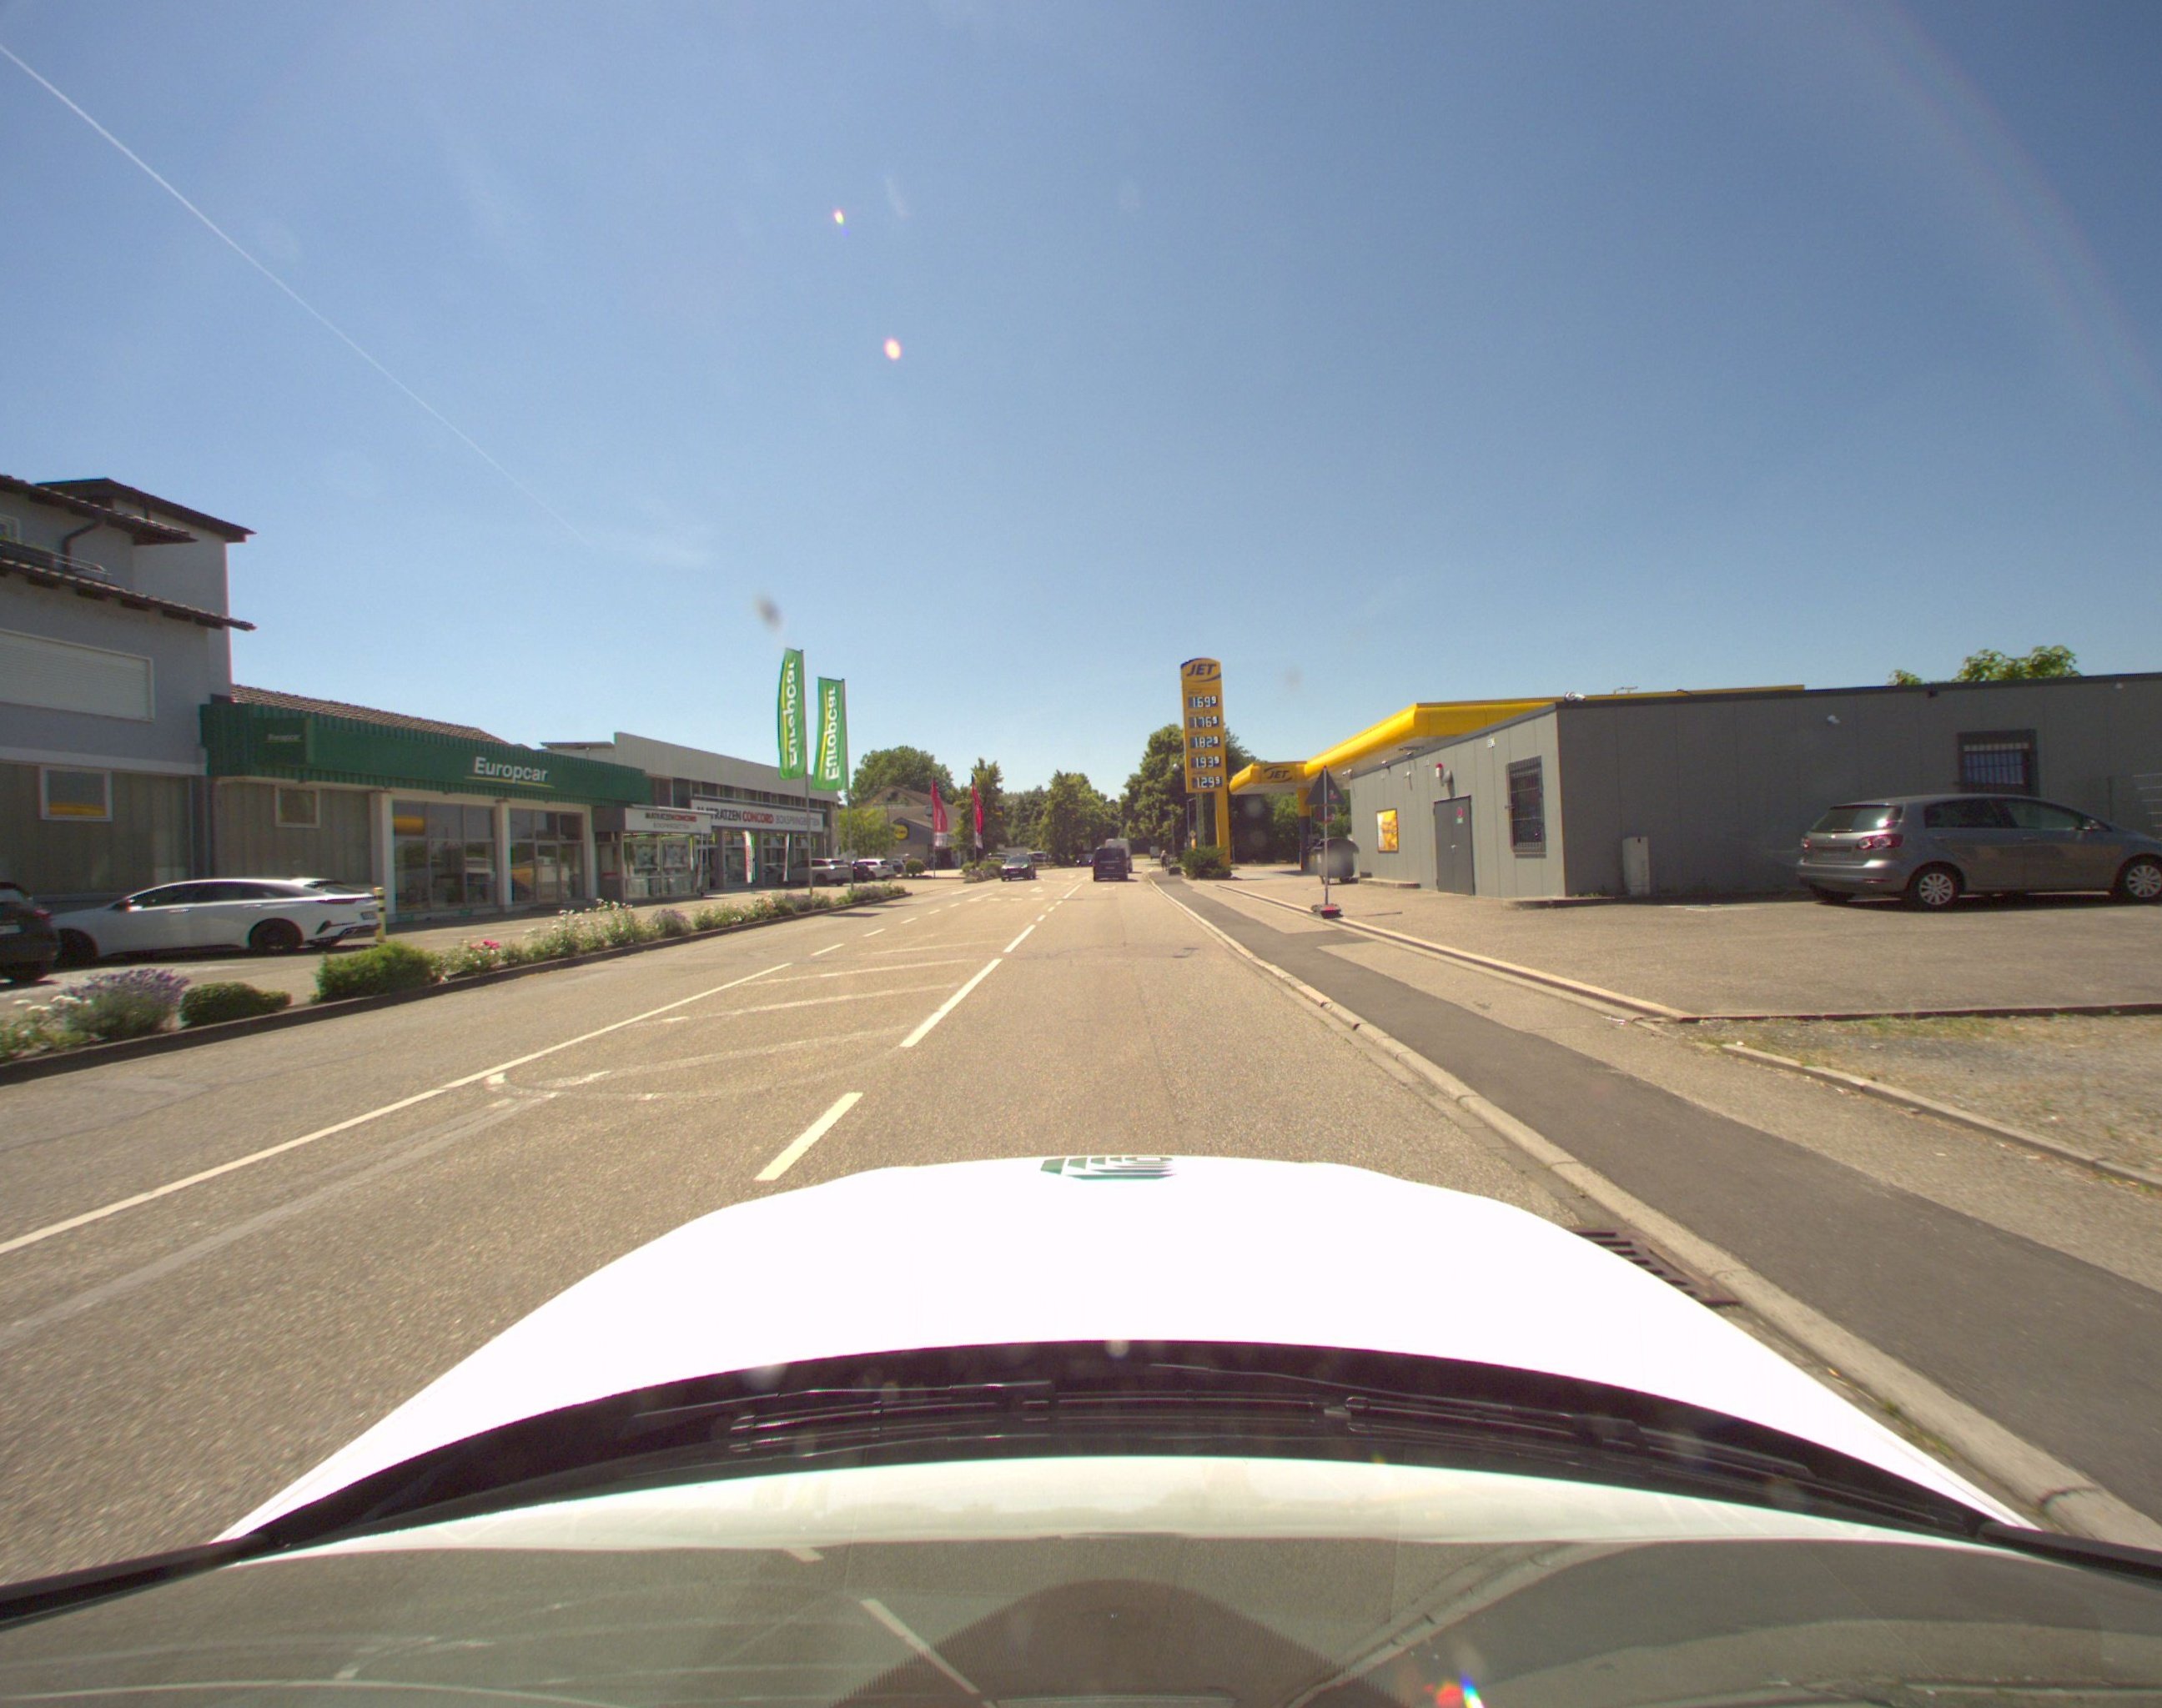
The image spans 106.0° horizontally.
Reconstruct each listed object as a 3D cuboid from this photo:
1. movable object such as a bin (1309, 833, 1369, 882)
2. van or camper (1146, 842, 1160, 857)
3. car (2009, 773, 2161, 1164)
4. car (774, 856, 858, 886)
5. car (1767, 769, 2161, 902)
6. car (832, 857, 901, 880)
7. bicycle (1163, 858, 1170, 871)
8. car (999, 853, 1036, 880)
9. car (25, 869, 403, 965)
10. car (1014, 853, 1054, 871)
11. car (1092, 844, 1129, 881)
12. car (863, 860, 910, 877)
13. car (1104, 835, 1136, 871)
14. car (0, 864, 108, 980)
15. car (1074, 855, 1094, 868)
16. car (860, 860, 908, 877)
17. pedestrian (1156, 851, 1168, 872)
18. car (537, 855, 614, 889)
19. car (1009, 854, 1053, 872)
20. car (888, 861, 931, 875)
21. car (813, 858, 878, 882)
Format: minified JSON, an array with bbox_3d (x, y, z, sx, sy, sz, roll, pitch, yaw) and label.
[{"bbox_3d":[8.215,0.106,25.990,1.428,1.438,1.468,-4,0,2],"label":"movable object such as a bin"},{"bbox_3d":[14.775,-0.830,167.870,2.621,2.929,5.209,-1,-1,2],"label":"van or camper"},{"bbox_3d":[6.309,0.345,2.694,4.210,1.534,1.958,-3,0,0],"label":"car"},{"bbox_3d":[-16.012,1.045,49.289,4.492,1.664,2.010,-2,0,20],"label":"car"},{"bbox_3d":[12.840,-0.246,11.849,3.969,1.657,1.949,-2,0,4],"label":"car"},{"bbox_3d":[-15.023,1.024,57.052,4.150,1.446,1.989,-2,0,18],"label":"car"},{"bbox_3d":[6.048,0.749,57.482,0.375,0.912,1.602,-2,0,9],"label":"bicycle"},{"bbox_3d":[-3.924,0.745,51.128,1.755,1.527,4.140,-3,0,2],"label":"car"},{"bbox_3d":[-15.740,1.065,15.152,4.356,1.439,1.926,-2,0,-21],"label":"car"},{"bbox_3d":[-5.355,0.961,93.162,4.338,1.980,1.906,-1,-1,3],"label":"car"},{"bbox_3d":[1.623,0.442,45.556,1.986,1.952,5.006,0,0,1],"label":"car"},{"bbox_3d":[-20.329,1.494,85.258,4.295,1.655,2.115,-1,-1,2],"label":"car"},{"bbox_3d":[3.021,-0.055,62.278,2.066,2.702,4.677,0,0,8],"label":"car"},{"bbox_3d":[-16.461,0.988,11.293,3.547,1.565,1.970,-2,0,1],"label":"car"},{"bbox_3d":[0.373,0.832,92.796,1.924,1.400,4.692,-1,-1,3],"label":"car"},{"bbox_3d":[-19.294,1.399,79.742,4.225,1.589,1.767,-1,-1,-3],"label":"car"},{"bbox_3d":[5.750,0.517,57.784,0.764,1.421,0.870,-2,-1,8],"label":"pedestrian"},{"bbox_3d":[-41.417,1.463,66.882,2.270,2.627,5.907,-1,-1,5],"label":"car"},{"bbox_3d":[-5.520,0.993,90.446,4.356,1.845,2.110,-1,-1,11],"label":"car"},{"bbox_3d":[-18.822,1.545,89.432,4.295,1.530,1.828,-1,-1,2],"label":"car"},{"bbox_3d":[-15.692,1.085,54.273,3.595,1.474,2.010,-2,0,20],"label":"car"}]
